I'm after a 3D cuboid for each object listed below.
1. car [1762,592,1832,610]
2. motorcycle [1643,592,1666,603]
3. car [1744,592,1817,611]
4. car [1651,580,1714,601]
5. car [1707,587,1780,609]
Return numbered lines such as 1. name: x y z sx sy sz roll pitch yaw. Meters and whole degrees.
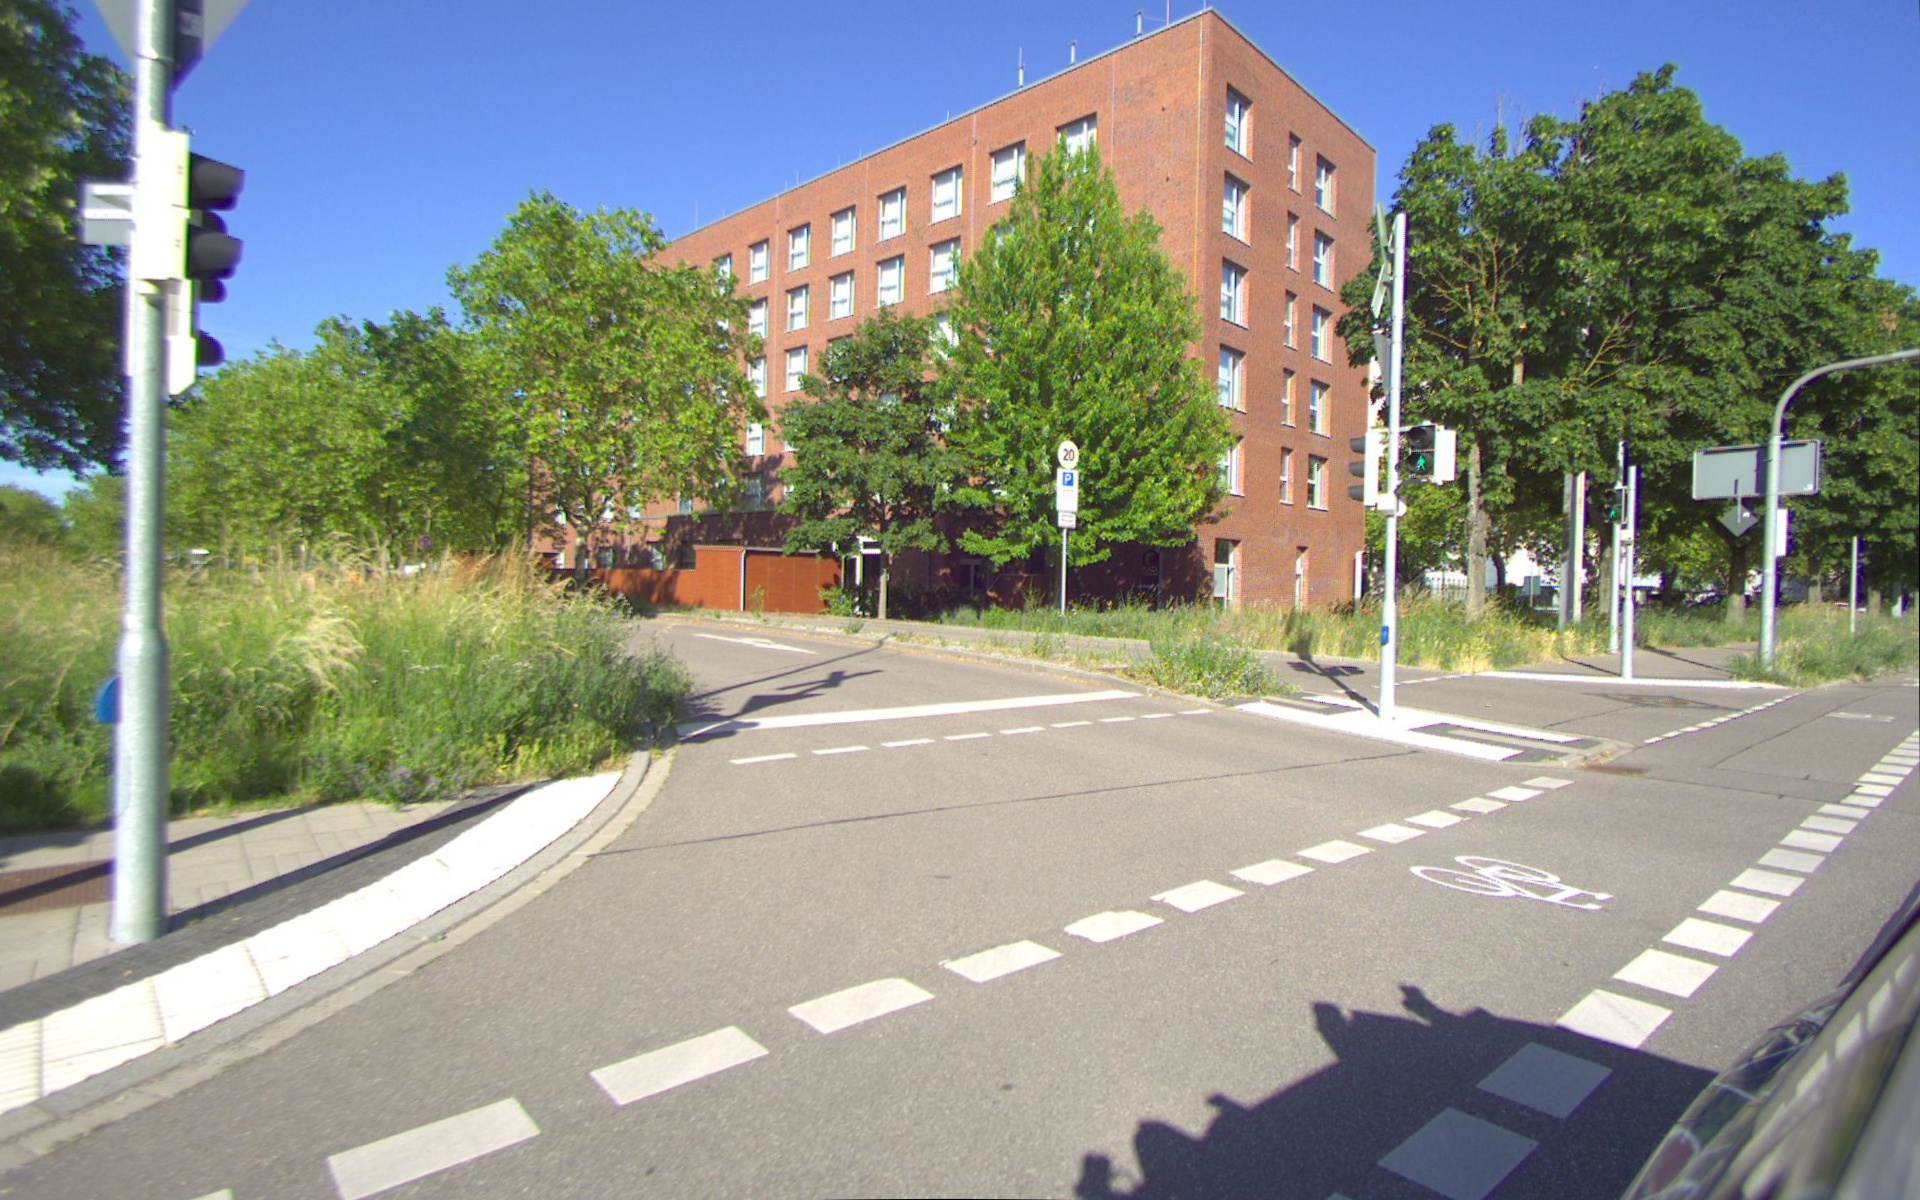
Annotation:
1. car: 74.088 0.104 89.618 1.901 1.340 4.312 2 1 -31
2. motorcycle: 66.184 -0.232 96.453 0.528 0.982 1.654 1 2 -36
3. car: 65.766 0.094 81.205 1.789 1.449 4.182 0 1 -33
4. car: 73.153 -0.998 102.549 1.937 1.974 4.765 1 2 -36
5. car: 58.996 -0.171 76.242 1.705 1.524 4.044 1 2 -35
